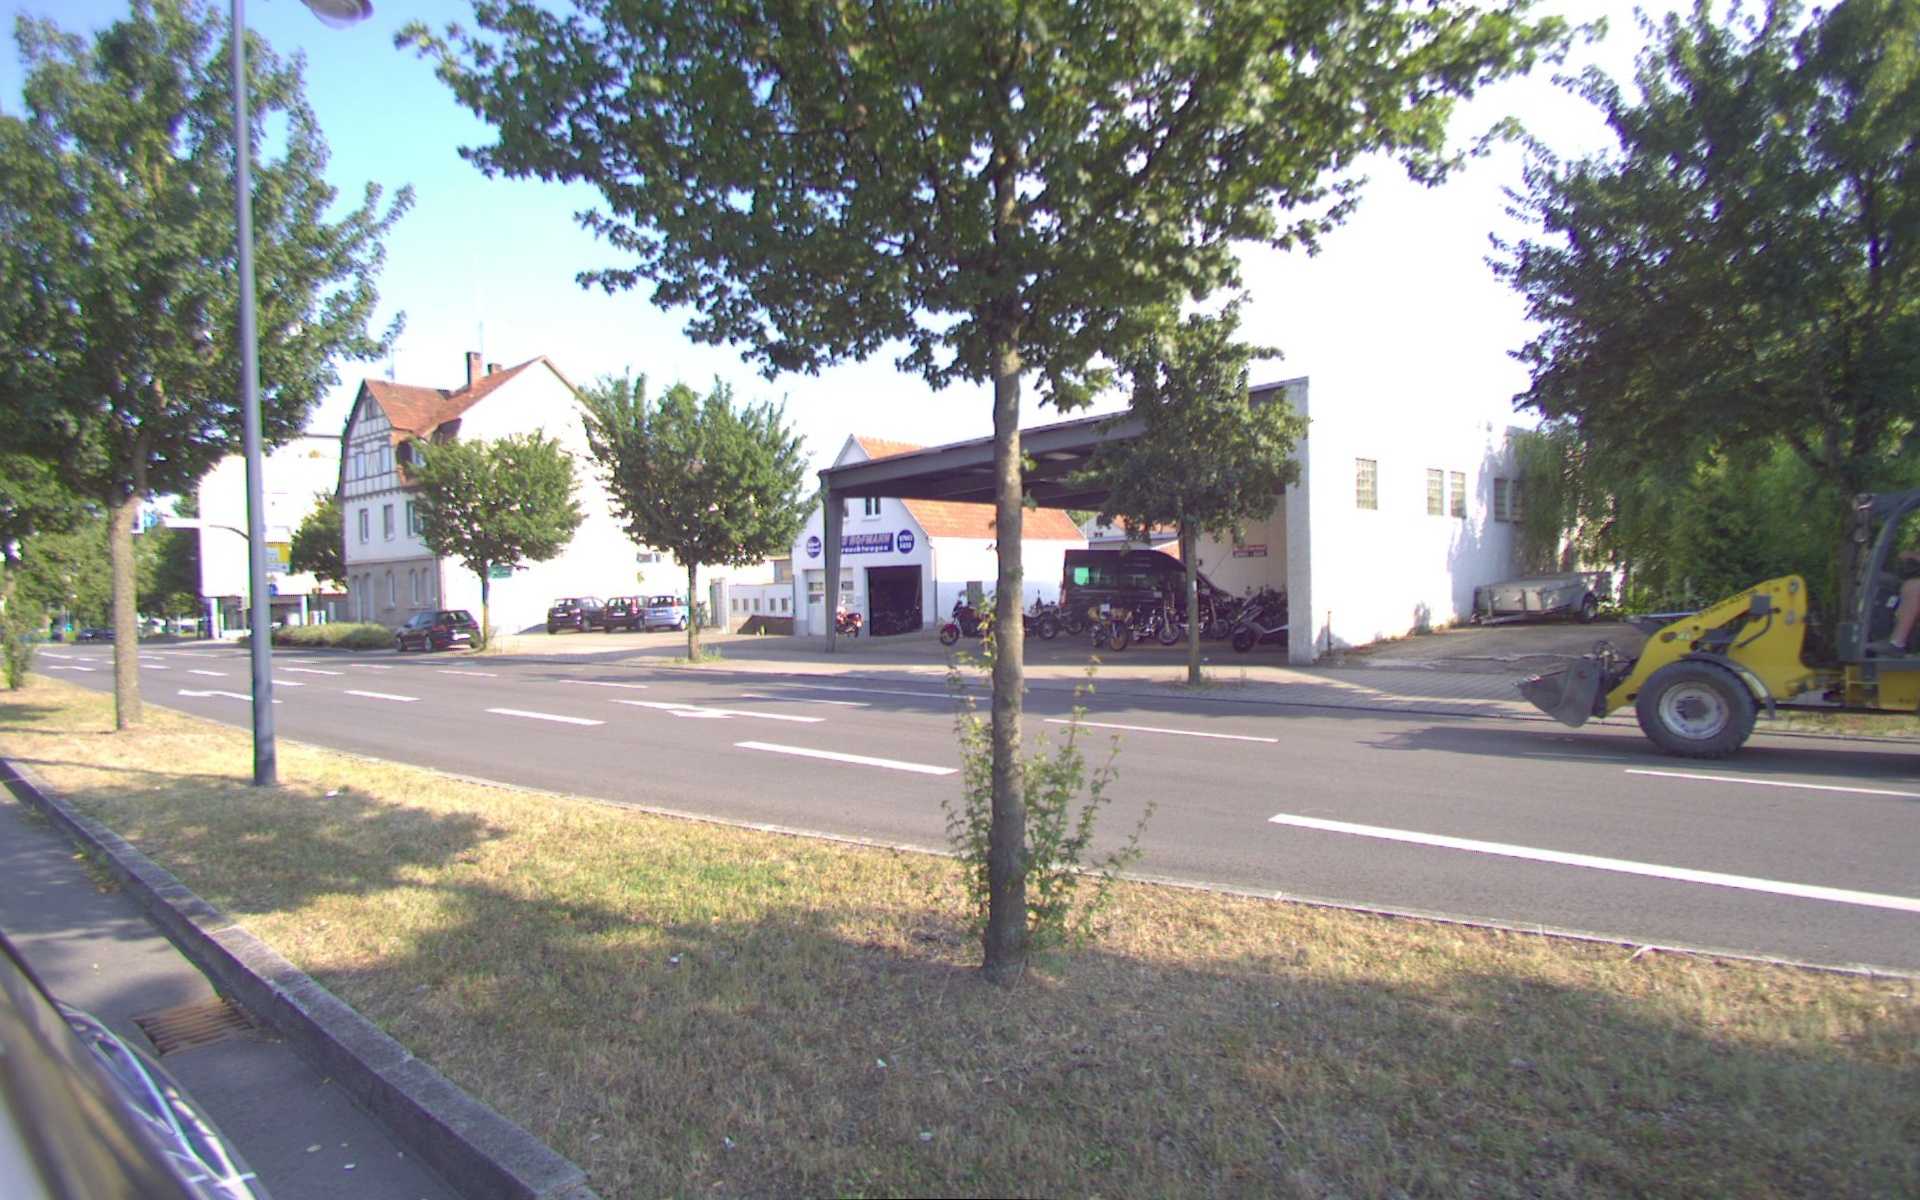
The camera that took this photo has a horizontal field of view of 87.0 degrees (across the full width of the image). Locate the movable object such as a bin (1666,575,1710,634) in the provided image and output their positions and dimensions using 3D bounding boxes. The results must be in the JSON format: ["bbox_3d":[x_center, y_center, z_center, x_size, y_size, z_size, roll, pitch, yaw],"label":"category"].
[{"bbox_3d":[13.735,0.087,19.086,0.589,1.077,0.534,-1,0,43],"label":"movable object such as a bin"}]

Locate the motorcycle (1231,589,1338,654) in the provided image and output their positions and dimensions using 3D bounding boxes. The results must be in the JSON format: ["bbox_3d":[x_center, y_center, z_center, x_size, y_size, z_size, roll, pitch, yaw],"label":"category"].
[{"bbox_3d":[6.805,0.453,21.305,2.074,1.310,0.523,-2,0,15],"label":"motorcycle"}]

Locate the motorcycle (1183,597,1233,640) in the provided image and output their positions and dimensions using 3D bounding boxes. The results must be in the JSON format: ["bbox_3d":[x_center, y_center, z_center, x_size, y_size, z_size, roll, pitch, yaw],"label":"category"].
[{"bbox_3d":[6.751,0.488,27.667,0.542,1.107,2.052,-2,0,-9],"label":"motorcycle"}]

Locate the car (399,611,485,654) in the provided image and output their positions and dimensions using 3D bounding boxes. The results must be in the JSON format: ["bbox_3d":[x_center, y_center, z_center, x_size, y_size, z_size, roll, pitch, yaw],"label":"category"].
[{"bbox_3d":[-18.480,1.140,36.070,3.433,1.327,1.650,-1,3,44],"label":"car"}]

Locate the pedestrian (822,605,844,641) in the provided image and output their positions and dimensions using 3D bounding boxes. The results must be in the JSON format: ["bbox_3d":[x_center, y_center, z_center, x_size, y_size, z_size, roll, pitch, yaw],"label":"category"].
[{"bbox_3d":[-4.899,0.874,39.000,0.583,1.350,0.589,-1,0,34],"label":"pedestrian"}]

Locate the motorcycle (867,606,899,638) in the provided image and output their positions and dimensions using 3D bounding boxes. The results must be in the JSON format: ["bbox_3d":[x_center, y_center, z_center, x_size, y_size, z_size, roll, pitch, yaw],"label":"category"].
[{"bbox_3d":[-3.278,0.928,43.363,0.485,1.332,2.104,-2,0,21],"label":"motorcycle"}]

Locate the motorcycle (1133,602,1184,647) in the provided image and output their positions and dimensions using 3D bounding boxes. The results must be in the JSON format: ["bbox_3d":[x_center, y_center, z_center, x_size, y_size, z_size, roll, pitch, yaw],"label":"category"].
[{"bbox_3d":[5.057,0.612,25.923,0.542,1.107,2.052,-2,0,-9],"label":"motorcycle"}]

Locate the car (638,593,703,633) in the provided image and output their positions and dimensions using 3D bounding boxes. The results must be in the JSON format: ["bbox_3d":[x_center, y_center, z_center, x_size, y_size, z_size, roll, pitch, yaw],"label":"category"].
[{"bbox_3d":[-11.850,0.524,41.589,1.599,1.555,3.429,-1,-1,2],"label":"car"}]

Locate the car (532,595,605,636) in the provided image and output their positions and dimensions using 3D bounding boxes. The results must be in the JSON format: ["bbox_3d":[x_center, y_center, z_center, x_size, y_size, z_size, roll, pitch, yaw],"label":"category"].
[{"bbox_3d":[-16.721,0.650,43.399,1.836,1.638,3.410,-1,0,0],"label":"car"}]

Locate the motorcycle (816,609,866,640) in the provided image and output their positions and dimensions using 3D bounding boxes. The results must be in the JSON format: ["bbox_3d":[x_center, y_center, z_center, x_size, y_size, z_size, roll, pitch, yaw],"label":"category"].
[{"bbox_3d":[-4.644,0.949,39.403,2.114,1.155,0.483,-2,-1,35],"label":"motorcycle"}]

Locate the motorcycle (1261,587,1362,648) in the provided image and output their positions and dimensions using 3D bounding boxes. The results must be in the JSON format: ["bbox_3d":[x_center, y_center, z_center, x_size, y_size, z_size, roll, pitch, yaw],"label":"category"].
[{"bbox_3d":[7.946,0.404,22.965,2.074,1.310,0.523,-2,0,15],"label":"motorcycle"}]

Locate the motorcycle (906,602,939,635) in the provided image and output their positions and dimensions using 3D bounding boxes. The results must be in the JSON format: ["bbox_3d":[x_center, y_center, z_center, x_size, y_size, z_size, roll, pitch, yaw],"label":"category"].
[{"bbox_3d":[-1.589,0.778,43.223,0.485,1.332,2.102,-2,0,24],"label":"motorcycle"}]

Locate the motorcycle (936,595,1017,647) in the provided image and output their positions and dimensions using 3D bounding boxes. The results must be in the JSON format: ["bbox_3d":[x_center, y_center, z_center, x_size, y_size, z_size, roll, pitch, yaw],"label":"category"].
[{"bbox_3d":[0.450,0.571,27.384,2.096,1.332,0.487,-2,0,11],"label":"motorcycle"}]

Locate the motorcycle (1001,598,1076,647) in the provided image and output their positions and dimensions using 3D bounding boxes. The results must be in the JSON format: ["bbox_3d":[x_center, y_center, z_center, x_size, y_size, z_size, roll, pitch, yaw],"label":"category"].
[{"bbox_3d":[2.257,0.635,29.010,2.095,1.332,0.487,-2,0,9],"label":"motorcycle"}]

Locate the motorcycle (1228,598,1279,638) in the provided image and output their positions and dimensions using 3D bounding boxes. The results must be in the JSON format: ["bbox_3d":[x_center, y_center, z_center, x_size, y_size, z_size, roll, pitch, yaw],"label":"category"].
[{"bbox_3d":[8.494,0.504,29.351,0.542,1.107,2.052,-2,0,-9],"label":"motorcycle"}]

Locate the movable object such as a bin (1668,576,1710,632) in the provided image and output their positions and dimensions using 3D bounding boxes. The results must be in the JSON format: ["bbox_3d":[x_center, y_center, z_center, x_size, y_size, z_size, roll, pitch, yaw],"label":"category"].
[{"bbox_3d":[14.240,0.080,19.760,0.589,1.077,0.534,-1,0,43],"label":"movable object such as a bin"}]

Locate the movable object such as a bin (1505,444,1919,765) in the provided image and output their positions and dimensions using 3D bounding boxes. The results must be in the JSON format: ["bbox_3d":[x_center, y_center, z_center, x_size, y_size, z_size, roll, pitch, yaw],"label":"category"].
[{"bbox_3d":[7.626,0.036,8.654,4.978,2.480,1.535,-1,0,43],"label":"movable object such as a bin"}]

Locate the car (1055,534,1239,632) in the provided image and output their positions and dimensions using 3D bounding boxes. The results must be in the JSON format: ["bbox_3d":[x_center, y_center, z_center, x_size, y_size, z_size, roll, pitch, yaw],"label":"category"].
[{"bbox_3d":[6.152,-0.528,33.919,5.734,2.982,2.670,-2,0,9],"label":"car"}]

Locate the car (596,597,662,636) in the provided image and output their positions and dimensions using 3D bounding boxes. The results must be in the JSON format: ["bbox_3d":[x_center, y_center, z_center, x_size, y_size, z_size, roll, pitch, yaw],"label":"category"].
[{"bbox_3d":[-14.103,0.686,43.297,1.566,1.576,3.429,-1,0,2],"label":"car"}]

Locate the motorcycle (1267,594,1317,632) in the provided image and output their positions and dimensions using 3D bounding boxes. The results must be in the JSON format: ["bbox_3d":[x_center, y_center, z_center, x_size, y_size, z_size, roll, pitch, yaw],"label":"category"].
[{"bbox_3d":[10.164,0.397,31.071,0.542,1.107,2.052,-2,0,-9],"label":"motorcycle"}]

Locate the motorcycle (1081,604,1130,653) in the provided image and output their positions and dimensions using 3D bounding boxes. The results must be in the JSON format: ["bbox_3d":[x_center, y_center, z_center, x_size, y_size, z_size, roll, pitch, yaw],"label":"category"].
[{"bbox_3d":[3.463,0.664,24.300,0.542,1.107,2.052,-2,0,-9],"label":"motorcycle"}]

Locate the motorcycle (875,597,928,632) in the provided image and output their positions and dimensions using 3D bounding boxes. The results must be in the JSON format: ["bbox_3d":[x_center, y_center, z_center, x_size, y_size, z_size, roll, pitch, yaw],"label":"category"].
[{"bbox_3d":[-2.374,0.594,41.050,2.082,1.332,0.490,-2,0,-28],"label":"motorcycle"}]

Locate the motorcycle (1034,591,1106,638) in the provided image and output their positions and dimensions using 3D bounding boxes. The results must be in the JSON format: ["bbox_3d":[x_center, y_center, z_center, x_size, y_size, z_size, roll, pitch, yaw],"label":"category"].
[{"bbox_3d":[3.349,0.443,30.831,2.090,1.332,0.488,-2,0,1],"label":"motorcycle"}]

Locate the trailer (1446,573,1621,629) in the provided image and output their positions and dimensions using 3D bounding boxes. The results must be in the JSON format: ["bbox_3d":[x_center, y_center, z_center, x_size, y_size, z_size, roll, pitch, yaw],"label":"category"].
[{"bbox_3d":[13.057,-0.003,23.052,3.312,1.121,2.174,-2,1,-33],"label":"trailer"}]
